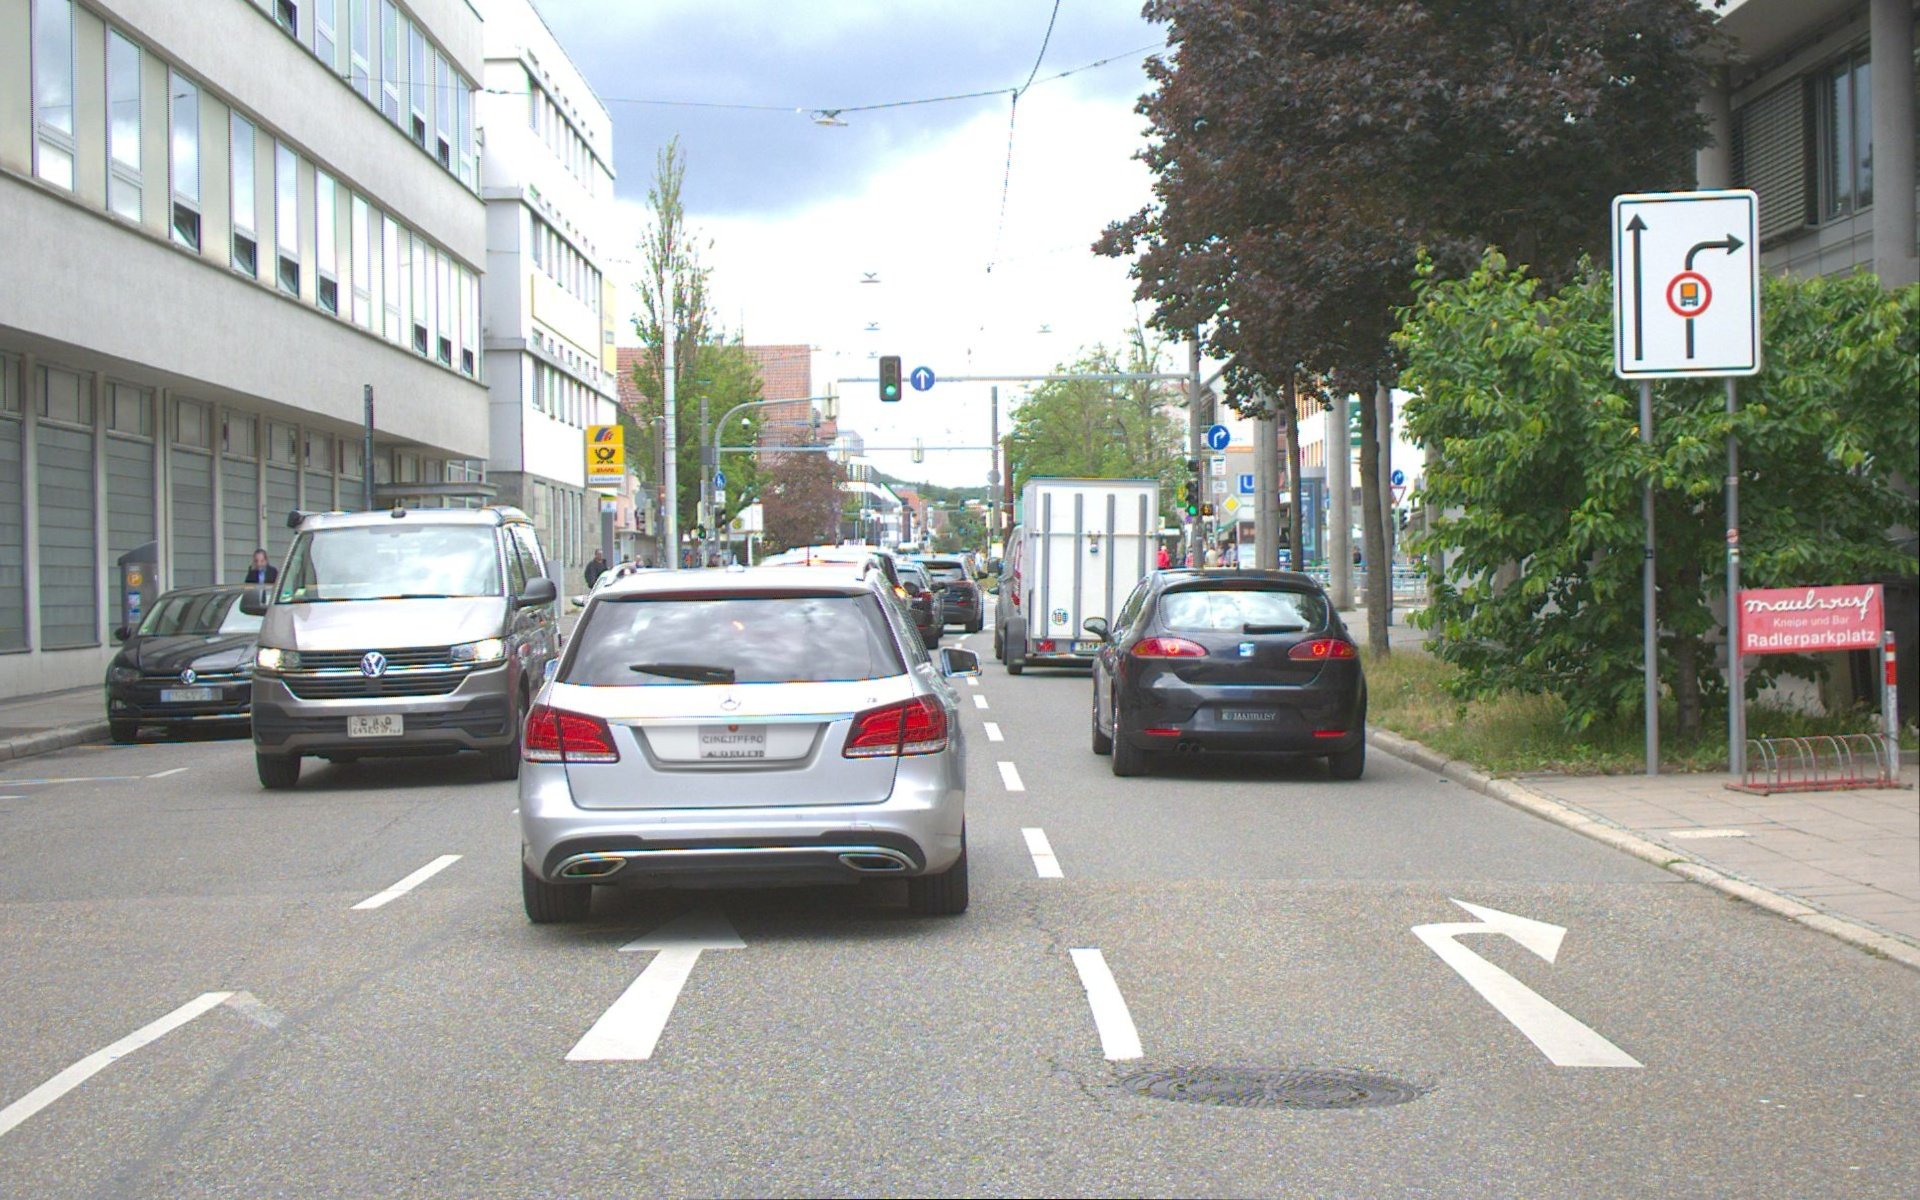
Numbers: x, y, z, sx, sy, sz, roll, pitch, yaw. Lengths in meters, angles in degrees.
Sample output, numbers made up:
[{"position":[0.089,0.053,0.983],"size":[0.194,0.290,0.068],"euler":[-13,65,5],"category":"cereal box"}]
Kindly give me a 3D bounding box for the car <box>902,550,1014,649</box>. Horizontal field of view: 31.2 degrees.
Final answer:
[{"position":[-0.067,-0.030,57.765],"size":[1.803,1.596,3.738],"euler":[0,1,-1],"category":"car"}]

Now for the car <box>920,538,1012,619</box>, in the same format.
[{"position":[0.097,-0.460,70.551],"size":[1.803,1.596,3.738],"euler":[0,1,-1],"category":"car"}]

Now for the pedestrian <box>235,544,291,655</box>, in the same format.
[{"position":[-10.293,-0.015,50.794],"size":[0.656,1.617,0.681],"euler":[-1,1,1],"category":"pedestrian"}]

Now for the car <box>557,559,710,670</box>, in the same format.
[{"position":[-4.499,0.168,47.879],"size":[1.769,1.408,4.175],"euler":[-2,1,-1],"category":"car"}]

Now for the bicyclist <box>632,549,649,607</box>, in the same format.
[{"position":[-9.435,-0.656,101.468],"size":[0.445,1.691,0.555],"euler":[1,0,-1],"category":"bicyclist"}]

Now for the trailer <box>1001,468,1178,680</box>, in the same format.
[{"position":[1.632,-0.365,45.208],"size":[1.993,2.598,5.349],"euler":[-1,1,-1],"category":"trailer"}]

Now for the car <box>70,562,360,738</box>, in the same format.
[{"position":[-7.134,0.434,33.329],"size":[1.912,1.511,4.175],"euler":[-2,1,-1],"category":"car"}]

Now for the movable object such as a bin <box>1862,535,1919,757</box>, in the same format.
[{"position":[6.801,0.285,23.190],"size":[0.943,1.465,1.446],"euler":[-2,1,-3],"category":"movable object such as a bin"}]

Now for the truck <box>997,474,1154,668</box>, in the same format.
[{"position":[1.573,-0.415,47.990],"size":[1.993,2.598,3.260],"euler":[-1,1,-1],"category":"truck"}]

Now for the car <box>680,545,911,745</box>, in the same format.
[{"position":[-1.331,0.326,28.935],"size":[1.803,1.547,3.738],"euler":[-1,1,-1],"category":"car"}]

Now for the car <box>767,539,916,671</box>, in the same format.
[{"position":[-1.485,0.029,43.773],"size":[1.803,1.596,3.738],"euler":[0,1,-1],"category":"car"}]

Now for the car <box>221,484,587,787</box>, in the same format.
[{"position":[-4.052,0.207,25.858],"size":[1.993,2.007,4.903],"euler":[-2,1,-1],"category":"car"}]

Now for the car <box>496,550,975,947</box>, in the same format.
[{"position":[-0.889,0.537,14.957],"size":[1.803,1.487,3.738],"euler":[-1,1,-1],"category":"car"}]

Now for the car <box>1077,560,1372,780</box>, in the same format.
[{"position":[1.825,0.443,24.765],"size":[1.765,1.428,3.828],"euler":[-1,1,-1],"category":"car"}]

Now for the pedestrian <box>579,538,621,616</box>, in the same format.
[{"position":[-8.656,-0.559,82.654],"size":[0.918,1.862,0.783],"euler":[-1,1,-1],"category":"pedestrian"}]

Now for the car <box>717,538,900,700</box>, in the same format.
[{"position":[-1.539,0.166,36.021],"size":[1.803,1.596,3.738],"euler":[0,1,-1],"category":"car"}]
